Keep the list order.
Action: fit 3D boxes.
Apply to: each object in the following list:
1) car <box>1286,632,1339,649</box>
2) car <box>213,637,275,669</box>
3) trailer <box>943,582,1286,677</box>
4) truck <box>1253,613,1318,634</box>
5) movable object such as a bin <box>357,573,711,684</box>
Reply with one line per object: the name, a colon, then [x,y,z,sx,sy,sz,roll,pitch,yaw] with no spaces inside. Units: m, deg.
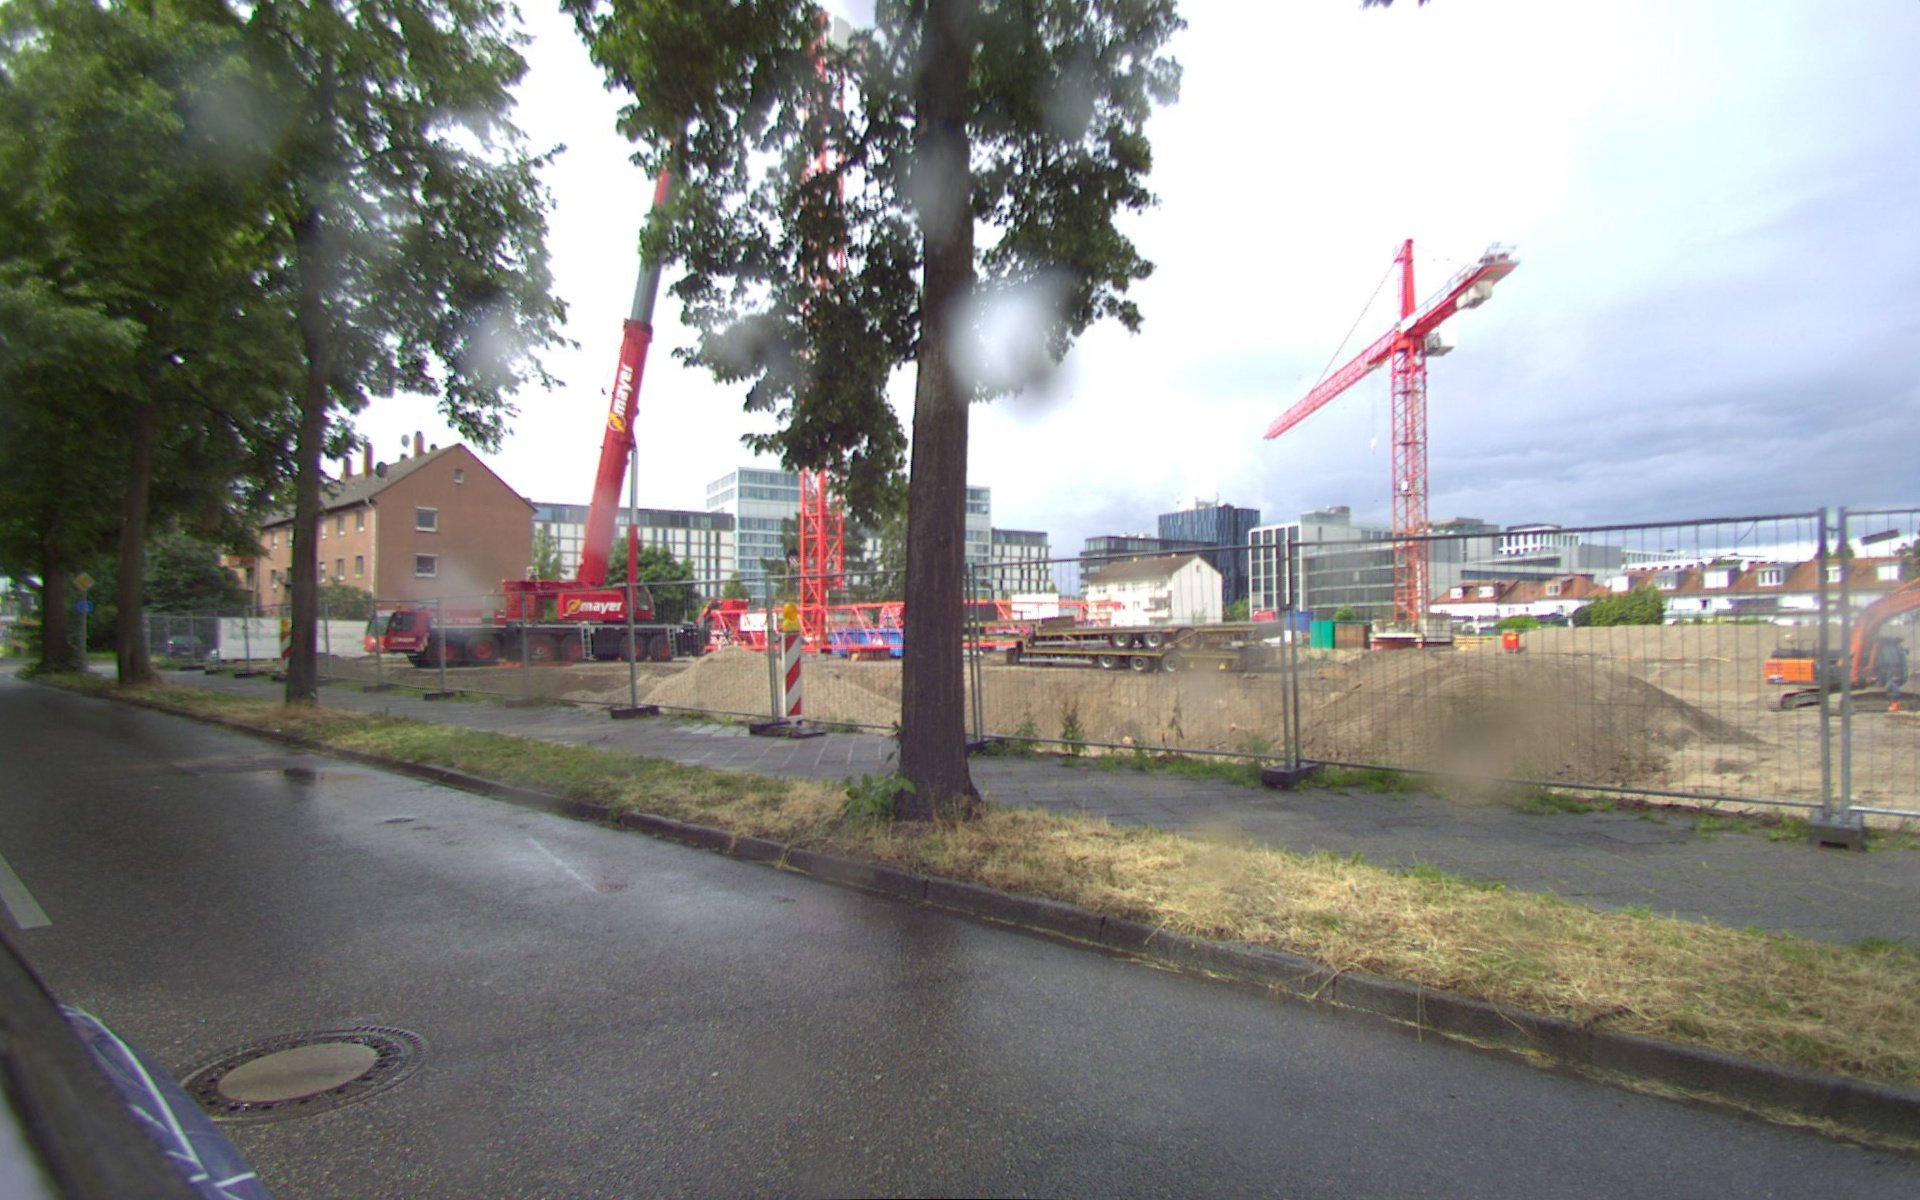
car: [34.622,3.922,99.492,4.582,1.529,1.797,-1,0,44]
car: [-37.843,2.763,53.476,3.996,1.541,1.672,-1,0,39]
trailer: [5.658,1.124,40.955,14.302,3.257,2.930,-1,1,41]
truck: [34.288,2.453,106.717,6.292,2.095,1.884,-1,0,25]
movable object such as a bin: [-19.638,1.145,48.544,3.102,4.592,15.727,-1,0,44]
